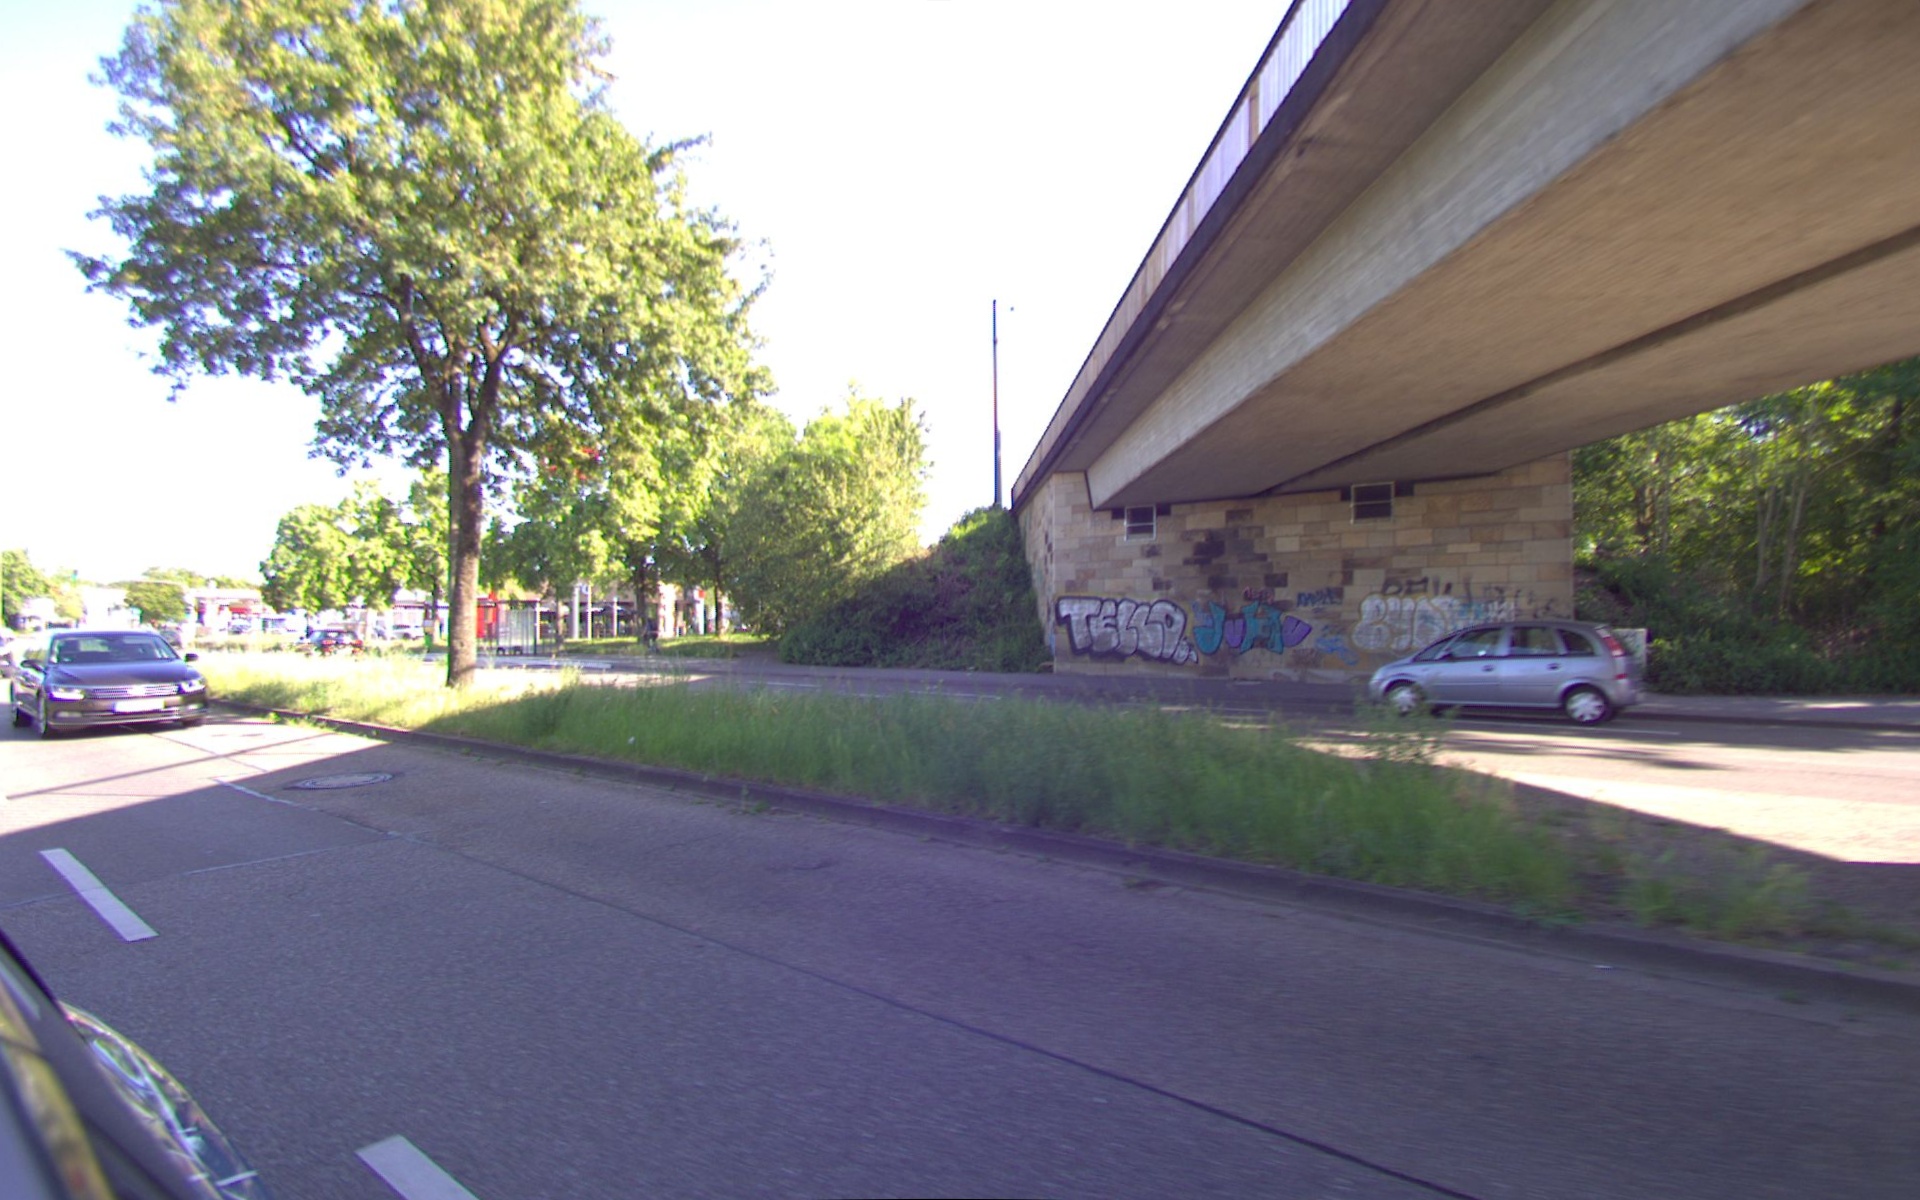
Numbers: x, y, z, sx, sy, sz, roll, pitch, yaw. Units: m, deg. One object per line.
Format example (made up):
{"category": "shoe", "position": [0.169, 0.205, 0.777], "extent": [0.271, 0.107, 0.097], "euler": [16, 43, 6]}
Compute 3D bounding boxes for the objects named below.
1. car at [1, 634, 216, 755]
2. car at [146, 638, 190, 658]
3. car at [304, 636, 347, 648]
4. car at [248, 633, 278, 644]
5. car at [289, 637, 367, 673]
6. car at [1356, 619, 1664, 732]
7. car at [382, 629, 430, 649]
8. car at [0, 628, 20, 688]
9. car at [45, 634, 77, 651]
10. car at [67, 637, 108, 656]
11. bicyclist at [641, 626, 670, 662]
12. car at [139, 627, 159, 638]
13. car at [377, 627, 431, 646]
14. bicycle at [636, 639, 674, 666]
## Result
{"category": "car", "position": [-12.512, 1.256, 14.772], "extent": [4.264, 1.464, 1.824], "euler": [-2, -1, 42]}
{"category": "car", "position": [-63.536, 3.851, 81.167], "extent": [4.487, 1.466, 1.894], "euler": [-1, -4, 41]}
{"category": "car", "position": [-76.191, 5.068, 121.547], "extent": [1.900, 1.443, 4.063], "euler": [-1, -3, 41]}
{"category": "car", "position": [-83.573, 4.612, 121.391], "extent": [4.116, 1.335, 1.876], "euler": [-1, -3, 40]}
{"category": "car", "position": [-27.810, 2.376, 44.490], "extent": [4.087, 1.453, 1.797], "euler": [-1, -2, 41]}
{"category": "car", "position": [8.927, 1.152, 16.636], "extent": [4.177, 1.629, 1.711], "euler": [-1, -3, 41]}
{"category": "car", "position": [-54.816, 3.838, 100.146], "extent": [3.778, 1.864, 1.847], "euler": [-1, 0, 1]}
{"category": "car", "position": [-29.765, 1.718, 30.261], "extent": [4.694, 1.696, 1.973], "euler": [-1, 0, 41]}
{"category": "car", "position": [-82.796, 3.900, 93.158], "extent": [4.109, 1.462, 1.624], "euler": [-1, -4, 41]}
{"category": "car", "position": [-69.781, 3.708, 80.892], "extent": [4.628, 1.446, 1.798], "euler": [-1, -4, 41]}
{"category": "bicyclist", "position": [-12.489, 1.804, 41.537], "extent": [1.026, 1.412, 0.673], "euler": [-1, -1, 41]}
{"category": "car", "position": [-130.177, 5.211, 162.475], "extent": [4.116, 1.625, 1.740], "euler": [-1, -3, 40]}
{"category": "car", "position": [-52.609, 3.433, 95.816], "extent": [4.073, 1.674, 1.896], "euler": [-1, 0, -1]}
{"category": "bicycle", "position": [-12.528, 2.152, 41.566], "extent": [1.713, 1.038, 0.676], "euler": [-1, -1, 41]}
